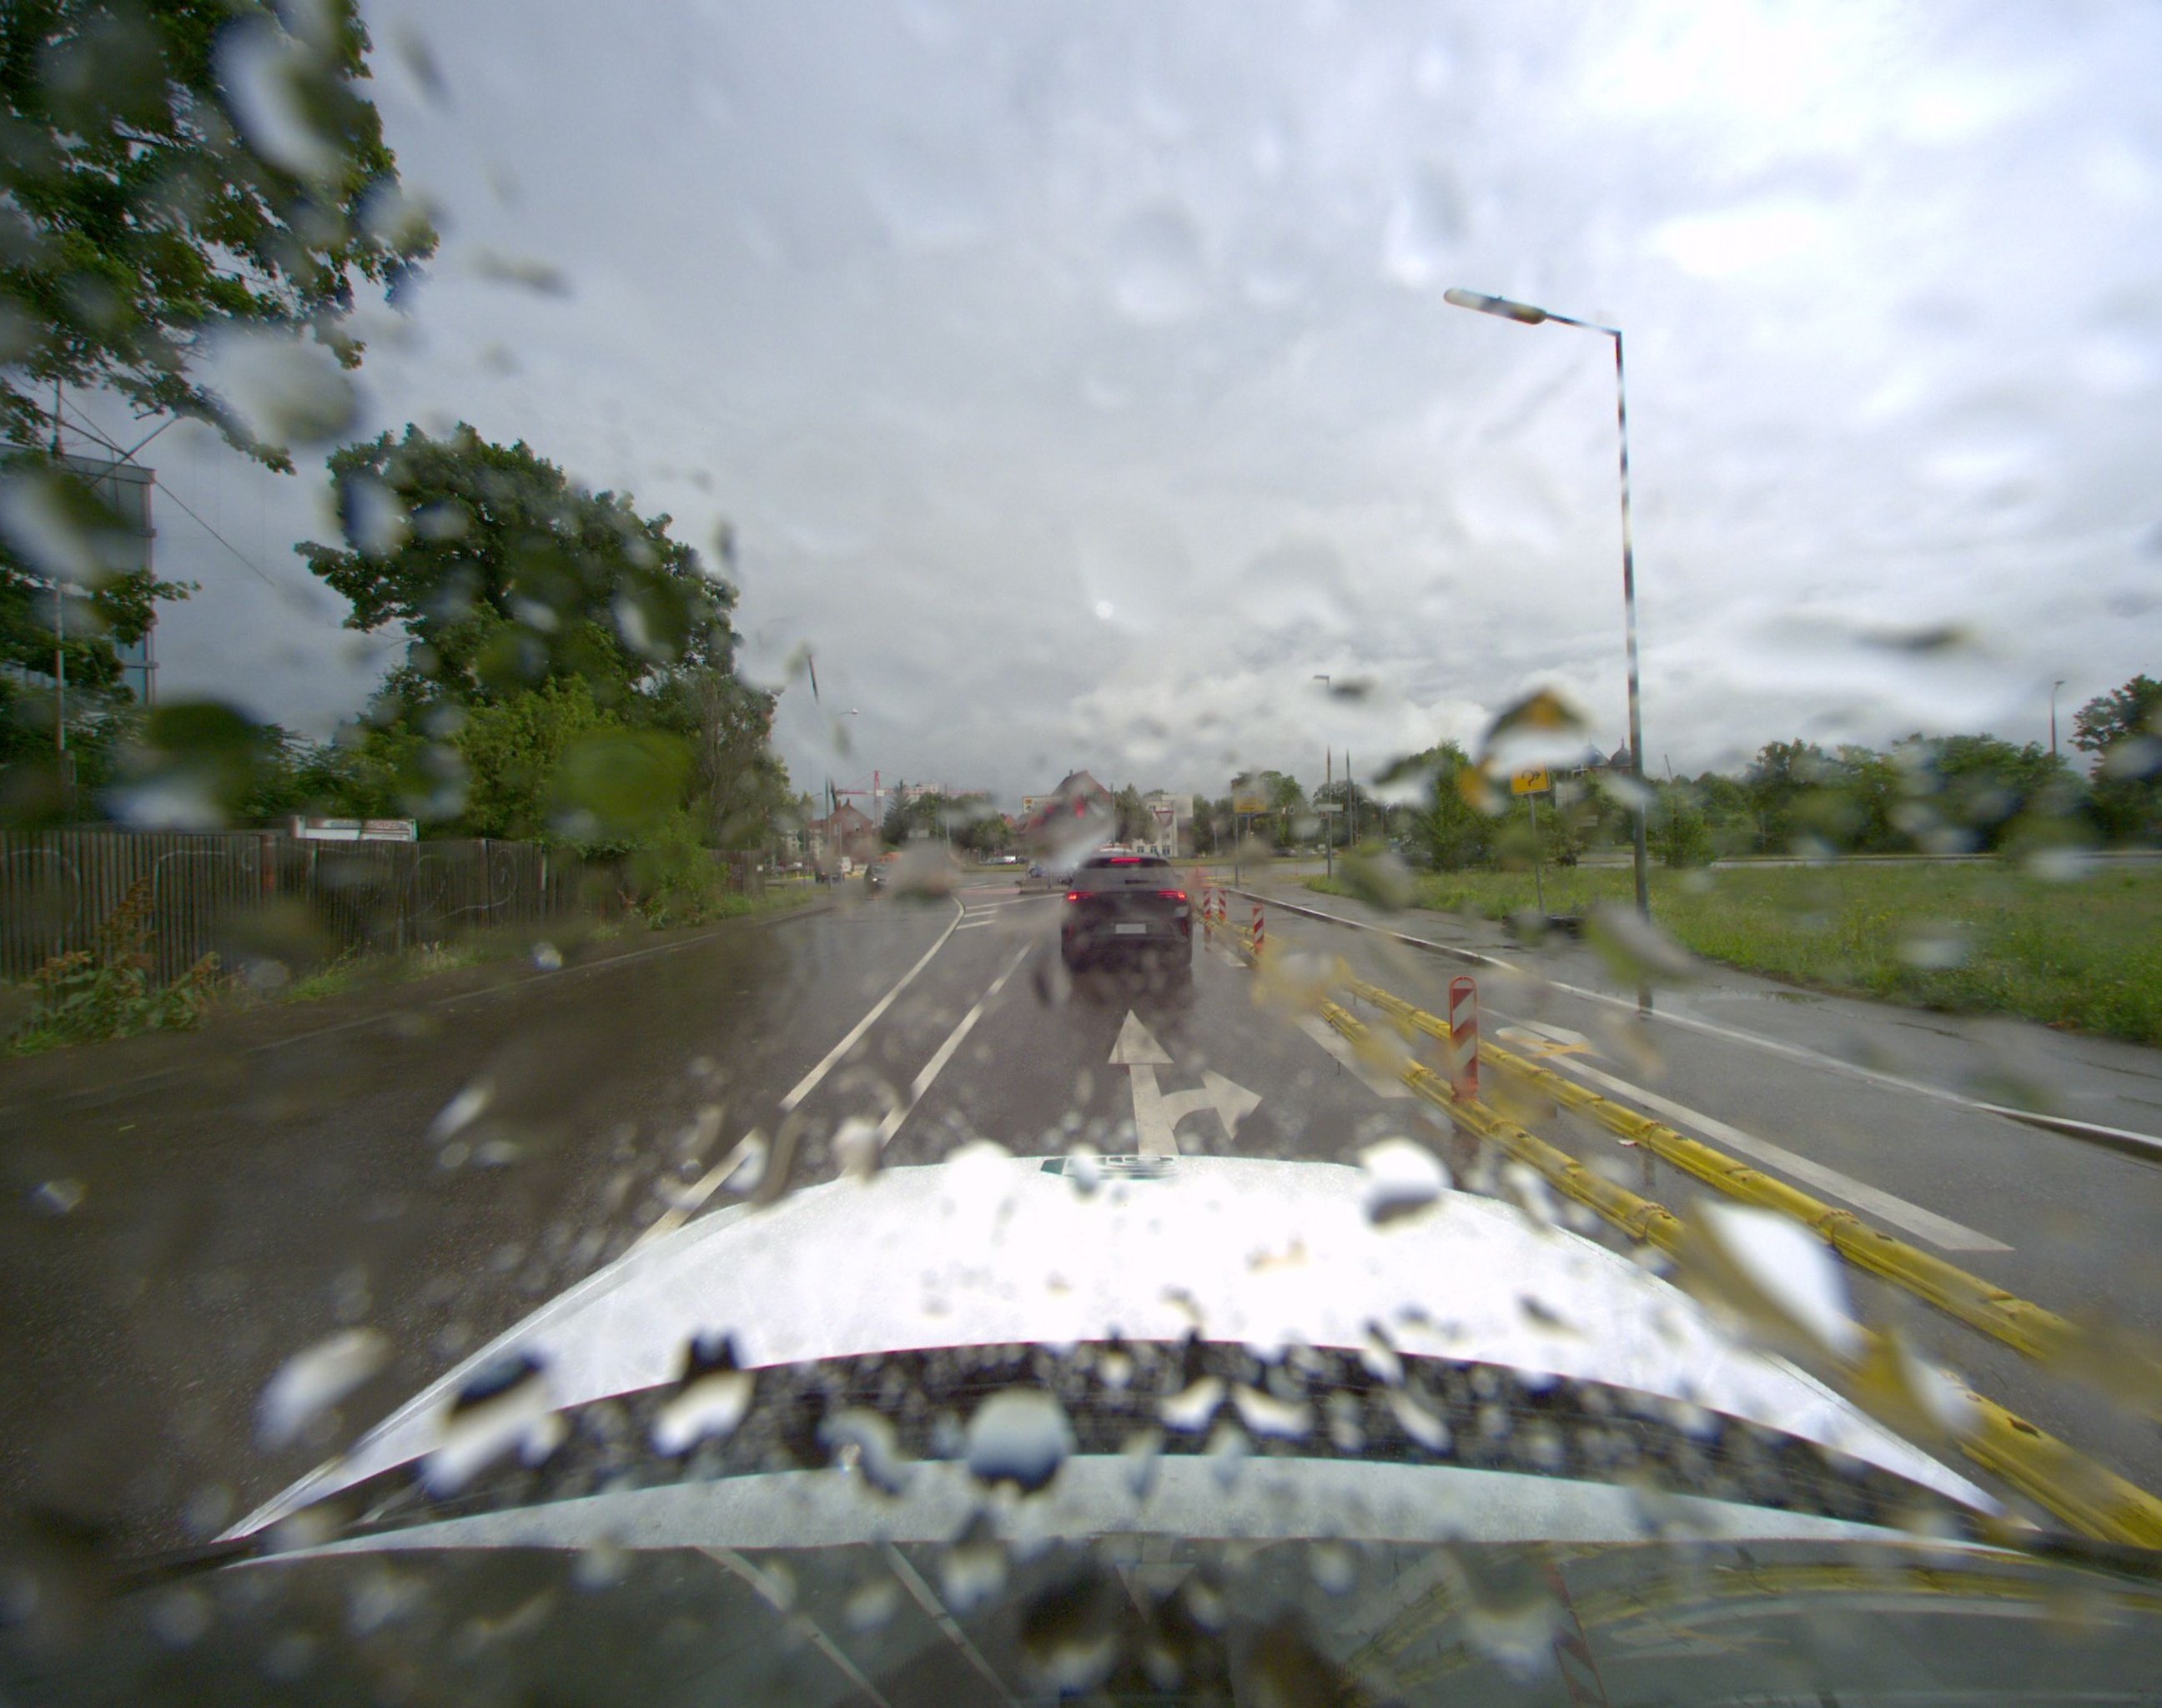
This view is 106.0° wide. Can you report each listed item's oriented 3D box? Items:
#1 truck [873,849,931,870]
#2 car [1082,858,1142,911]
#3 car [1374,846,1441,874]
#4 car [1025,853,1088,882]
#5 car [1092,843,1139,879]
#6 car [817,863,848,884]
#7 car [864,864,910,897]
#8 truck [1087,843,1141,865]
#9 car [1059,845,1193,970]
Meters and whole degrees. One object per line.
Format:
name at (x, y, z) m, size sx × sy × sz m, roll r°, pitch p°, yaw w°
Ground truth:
truck at (-22.898, 0.744, 104.408) m, size 6.750 × 2.442 × 2.408 m, roll -2°, pitch 0°, yaw -34°
car at (0.933, 0.925, 26.250) m, size 1.730 × 1.514 × 3.602 m, roll -1°, pitch 0°, yaw -1°
car at (20.711, 0.378, 51.823) m, size 3.909 × 1.644 × 1.679 m, roll -1°, pitch 0°, yaw 19°
car at (-1.614, 0.902, 55.194) m, size 3.968 × 1.830 × 2.003 m, roll -2°, pitch 0°, yaw 5°
car at (1.880, 0.346, 43.000) m, size 1.852 × 1.809 × 4.416 m, roll -1°, pitch 0°, yaw 10°
car at (-19.286, 1.516, 63.121) m, size 1.882 × 1.482 × 4.147 m, roll -2°, pitch -1°, yaw -22°
car at (-10.595, 1.442, 44.258) m, size 1.788 × 1.552 × 4.394 m, roll -4°, pitch 0°, yaw -21°
truck at (4.330, 0.015, 108.021) m, size 7.041 × 2.650 × 2.330 m, roll -1°, pitch 0°, yaw 1°
car at (0.539, 0.692, 12.267) m, size 1.704 × 1.574 × 3.680 m, roll -1°, pitch 0°, yaw -2°
